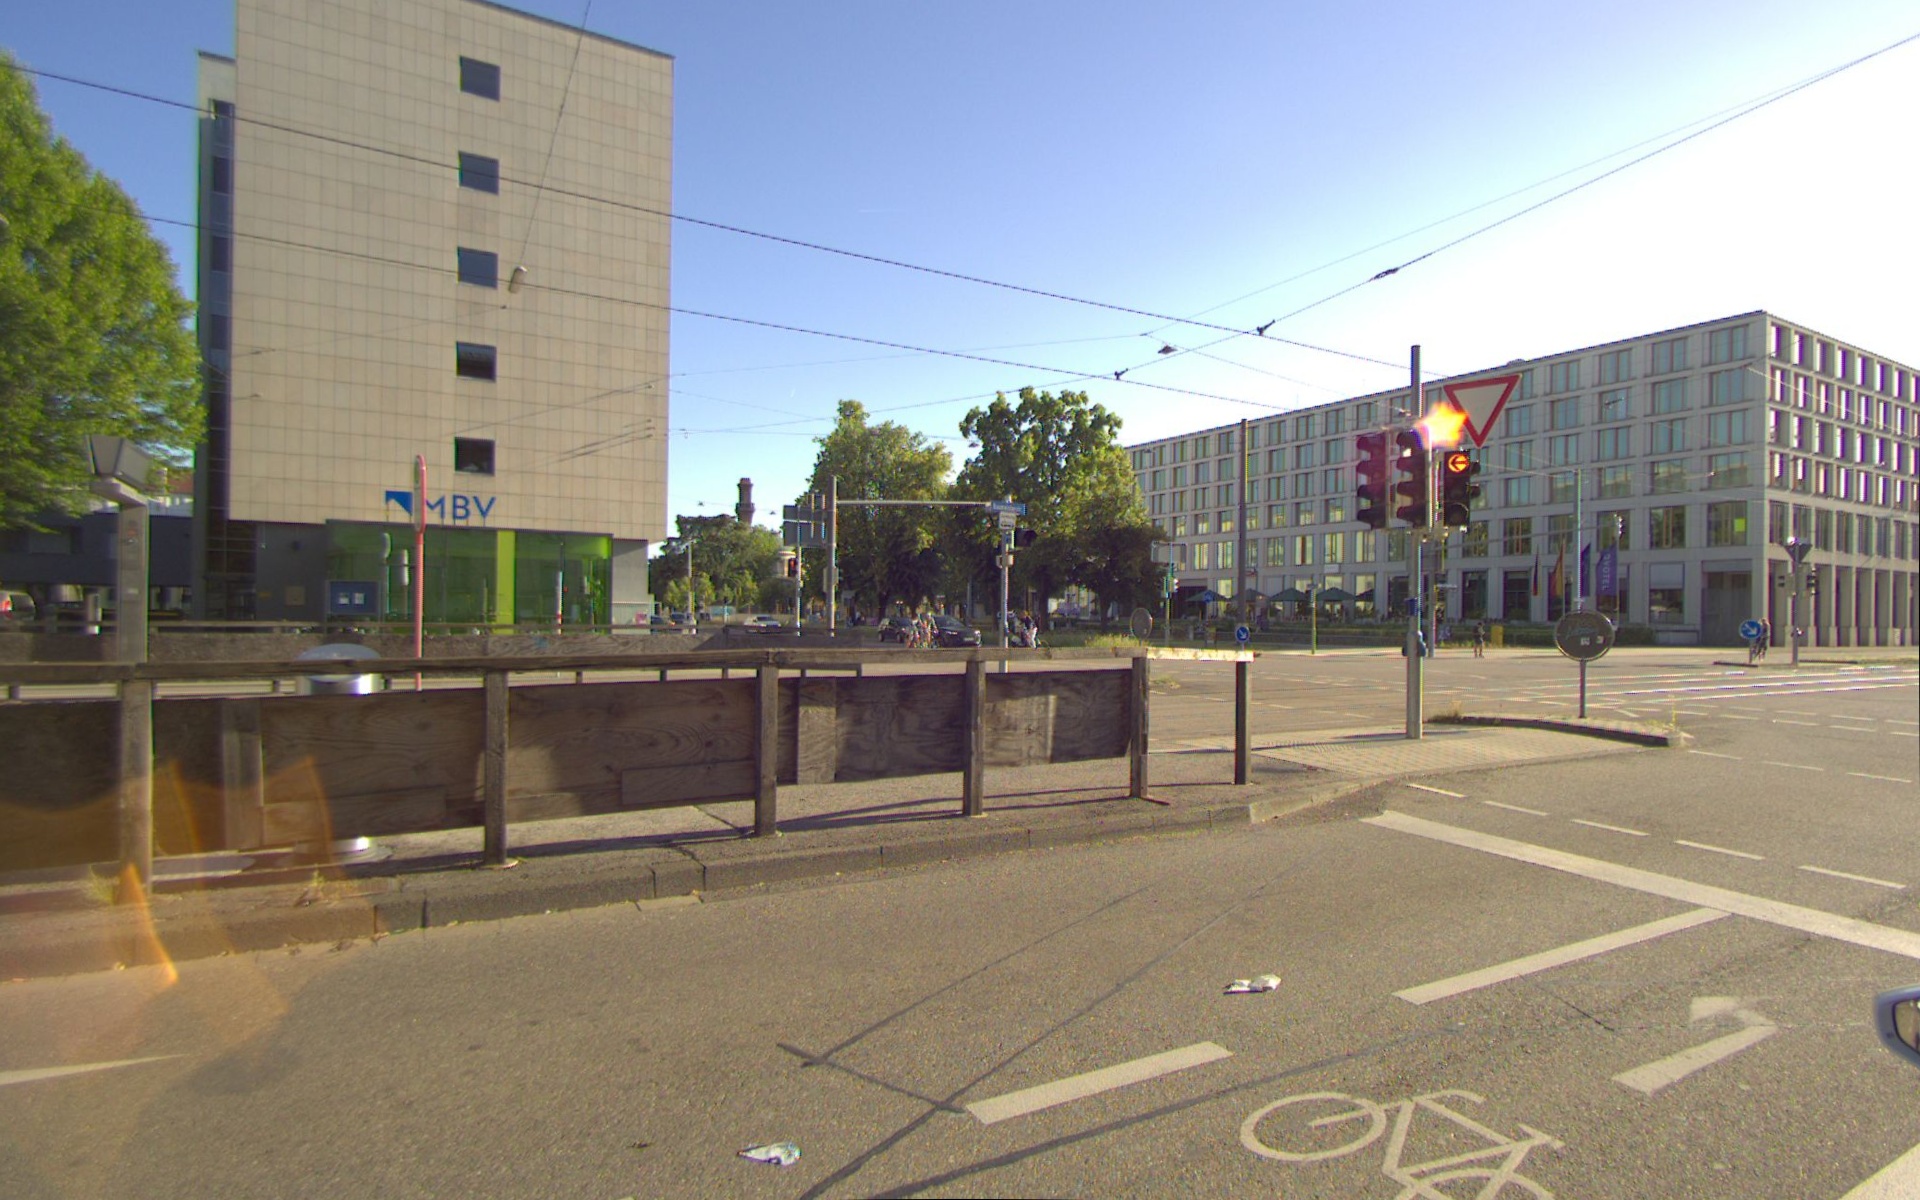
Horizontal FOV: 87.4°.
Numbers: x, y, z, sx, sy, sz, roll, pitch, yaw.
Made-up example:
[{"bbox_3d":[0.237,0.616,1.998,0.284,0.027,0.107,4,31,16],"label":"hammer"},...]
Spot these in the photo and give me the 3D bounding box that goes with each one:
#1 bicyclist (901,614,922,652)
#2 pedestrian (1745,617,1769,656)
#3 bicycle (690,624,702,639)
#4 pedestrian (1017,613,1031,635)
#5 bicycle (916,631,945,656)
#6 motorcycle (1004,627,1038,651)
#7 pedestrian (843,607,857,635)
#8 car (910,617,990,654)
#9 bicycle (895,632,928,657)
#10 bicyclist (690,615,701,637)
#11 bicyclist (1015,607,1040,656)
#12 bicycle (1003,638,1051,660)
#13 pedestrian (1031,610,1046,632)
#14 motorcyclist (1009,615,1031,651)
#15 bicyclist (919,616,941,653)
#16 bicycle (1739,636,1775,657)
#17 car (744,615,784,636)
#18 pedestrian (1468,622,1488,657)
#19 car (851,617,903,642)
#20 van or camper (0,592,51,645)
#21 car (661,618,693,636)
[{"bbox_3d":[-2.030,1.369,42.014,0.577,1.563,0.833,1,-2,-32],"label":"bicyclist"},{"bbox_3d":[33.048,1.515,41.647,0.735,1.616,0.569,1,-1,-29],"label":"pedestrian"},{"bbox_3d":[-19.484,2.323,74.113,0.576,1.032,1.666,1,-1,-27],"label":"bicycle"},{"bbox_3d":[5.070,1.877,79.528,0.858,1.738,0.737,2,0,-26],"label":"pedestrian"},{"bbox_3d":[-1.264,1.829,42.378,0.576,1.032,1.666,1,-1,-27],"label":"bicycle"},{"bbox_3d":[2.851,1.821,46.953,0.624,1.030,1.972,-3,1,-28],"label":"motorcycle"},{"bbox_3d":[-8.149,1.561,74.135,0.772,2.040,0.747,1,-1,-31],"label":"pedestrian"},{"bbox_3d":[-0.495,1.587,44.984,1.925,1.561,3.969,2,-2,-29],"label":"car"},{"bbox_3d":[-2.035,1.847,42.017,0.577,1.032,1.806,1,-3,-31],"label":"bicycle"},{"bbox_3d":[-19.500,1.915,74.144,0.576,1.658,0.890,1,-1,-27],"label":"bicyclist"},{"bbox_3d":[2.529,1.174,37.503,0.762,1.784,0.532,1,-1,-30],"label":"bicyclist"},{"bbox_3d":[2.510,1.809,37.480,1.831,0.798,0.532,1,-1,-30],"label":"bicycle"},{"bbox_3d":[6.188,1.657,79.356,0.858,1.738,0.737,2,0,-26],"label":"pedestrian"},{"bbox_3d":[2.810,1.540,46.984,0.624,1.601,0.812,-3,1,-28],"label":"motorcyclist"},{"bbox_3d":[-1.271,1.442,42.413,0.576,1.563,0.890,1,-1,-27],"label":"bicyclist"},{"bbox_3d":[33.066,1.911,41.653,1.698,0.834,0.569,1,-1,-30],"label":"bicycle"},{"bbox_3d":[-15.361,1.969,78.614,1.975,1.472,4.179,2,0,-28],"label":"car"},{"bbox_3d":[25.111,1.904,48.718,0.597,1.703,0.602,1,-1,-22],"label":"pedestrian"},{"bbox_3d":[-5.151,1.799,62.233,1.674,1.506,3.719,1,-1,-33],"label":"car"},{"bbox_3d":[-27.886,0.433,27.564,3.954,1.425,1.954,4,-3,-30],"label":"van or camper"},{"bbox_3d":[-25.736,2.426,91.215,1.975,1.472,4.179,2,0,-28],"label":"car"}]
